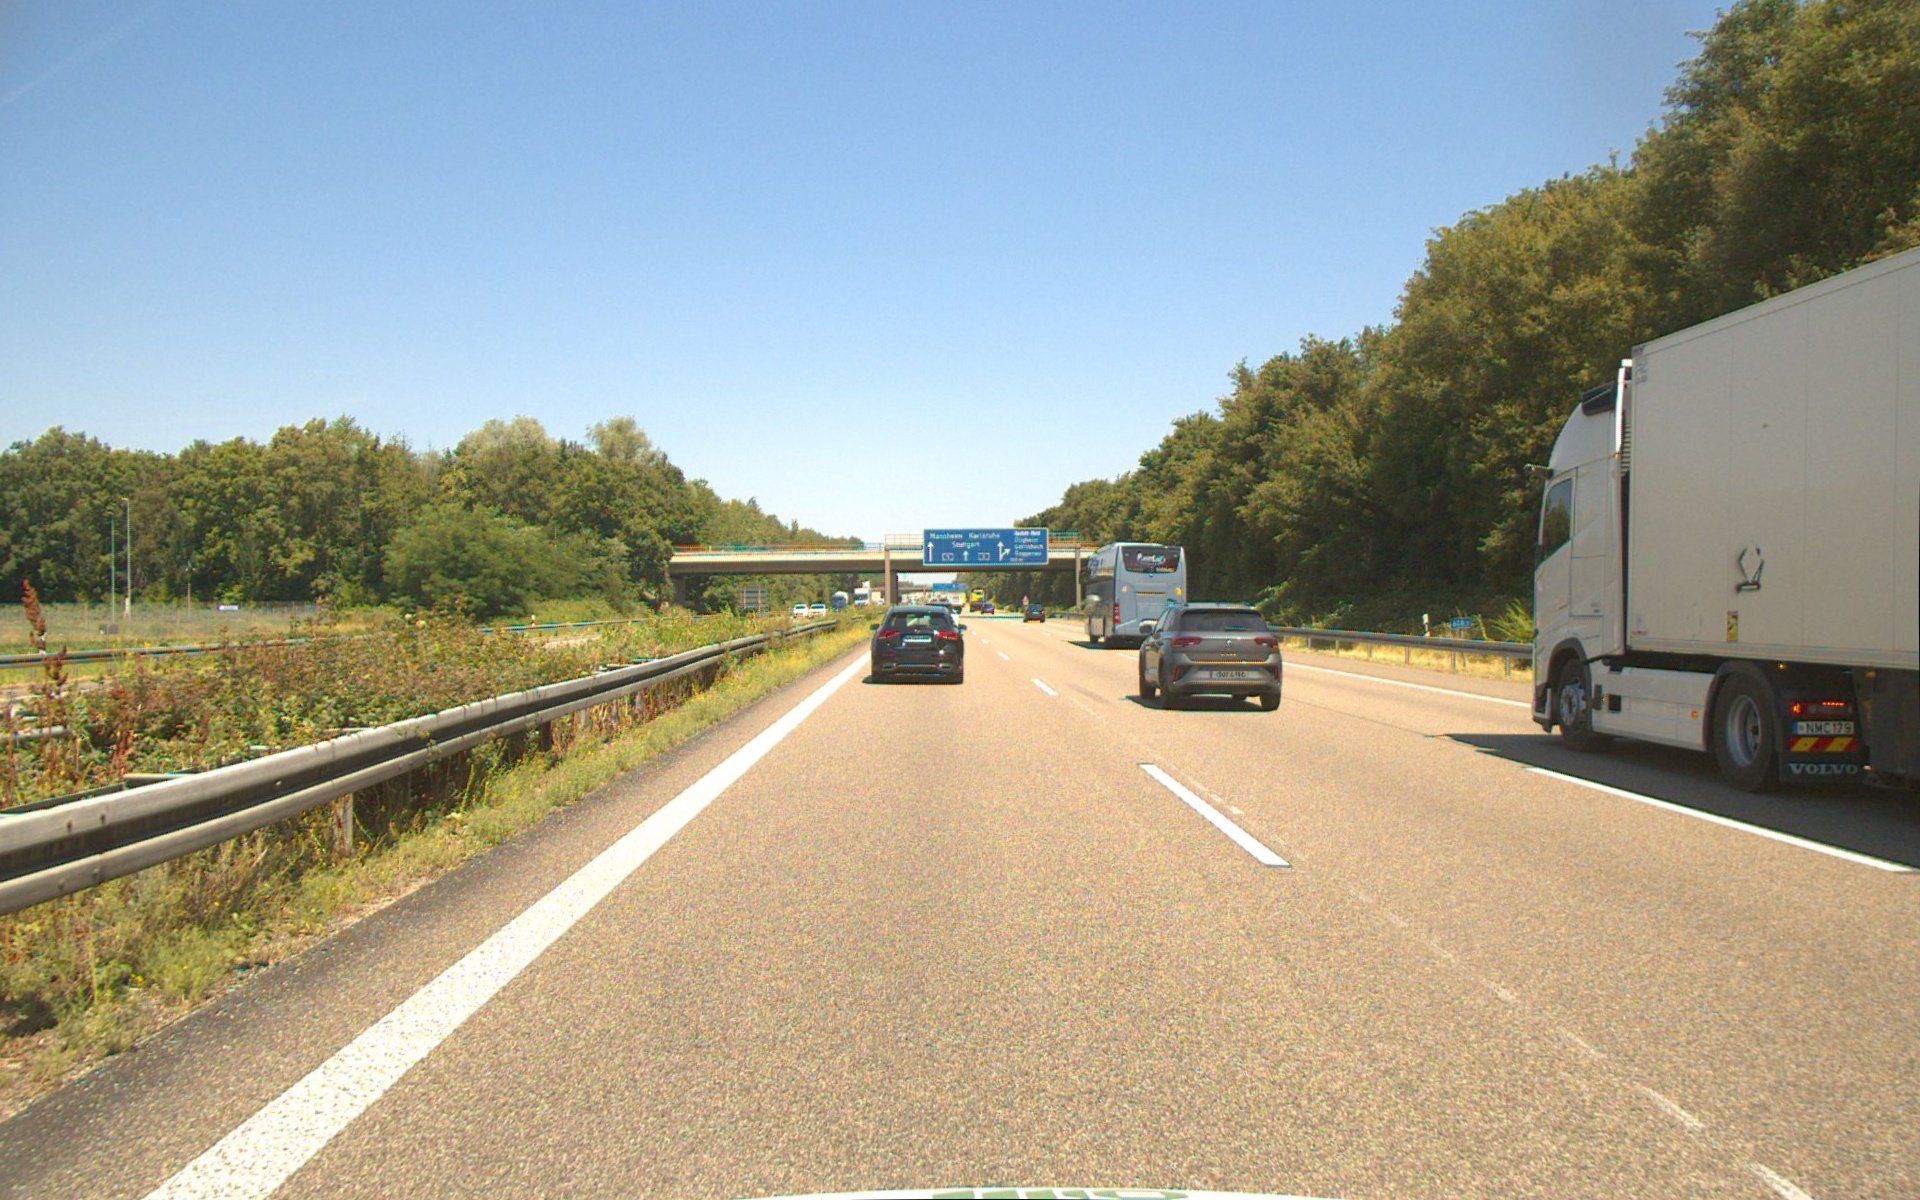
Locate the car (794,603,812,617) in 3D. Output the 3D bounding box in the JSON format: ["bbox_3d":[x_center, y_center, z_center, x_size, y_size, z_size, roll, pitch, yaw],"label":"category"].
[{"bbox_3d":[-19.678,1.251,207.208,1.861,1.621,4.741,-1,0,-2],"label":"car"}]

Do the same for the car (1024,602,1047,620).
[{"bbox_3d":[6.344,0.907,138.805,1.753,1.487,3.949,1,0,0],"label":"car"}]

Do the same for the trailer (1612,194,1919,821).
[{"bbox_3d":[8.119,-0.617,9.376,2.978,4.298,13.830,1,0,-2],"label":"trailer"}]

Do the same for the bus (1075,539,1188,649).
[{"bbox_3d":[6.143,-0.189,61.358,2.745,3.659,12.472,1,0,-1],"label":"bus"}]

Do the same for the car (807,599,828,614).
[{"bbox_3d":[-14.614,0.652,169.631,1.771,1.509,4.416,-3,0,-1],"label":"car"}]

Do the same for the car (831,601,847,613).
[{"bbox_3d":[-16.176,0.940,221.023,1.861,1.559,5.030,-4,0,-2],"label":"car"}]

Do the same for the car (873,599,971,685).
[{"bbox_3d":[-0.751,0.760,32.090,1.763,1.528,4.240,1,0,-2],"label":"car"}]

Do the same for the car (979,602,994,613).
[{"bbox_3d":[3.807,1.017,237.809,2.038,1.559,4.241,1,0,0],"label":"car"}]

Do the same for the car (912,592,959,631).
[{"bbox_3d":[-1.057,0.475,69.235,1.861,1.559,4.240,1,0,-2],"label":"car"}]

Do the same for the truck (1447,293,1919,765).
[{"bbox_3d":[7.837,-0.645,18.186,2.986,4.289,6.046,1,0,-2],"label":"truck"}]

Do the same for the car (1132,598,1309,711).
[{"bbox_3d":[3.919,0.768,25.678,1.861,1.559,4.758,1,0,-2],"label":"car"}]
